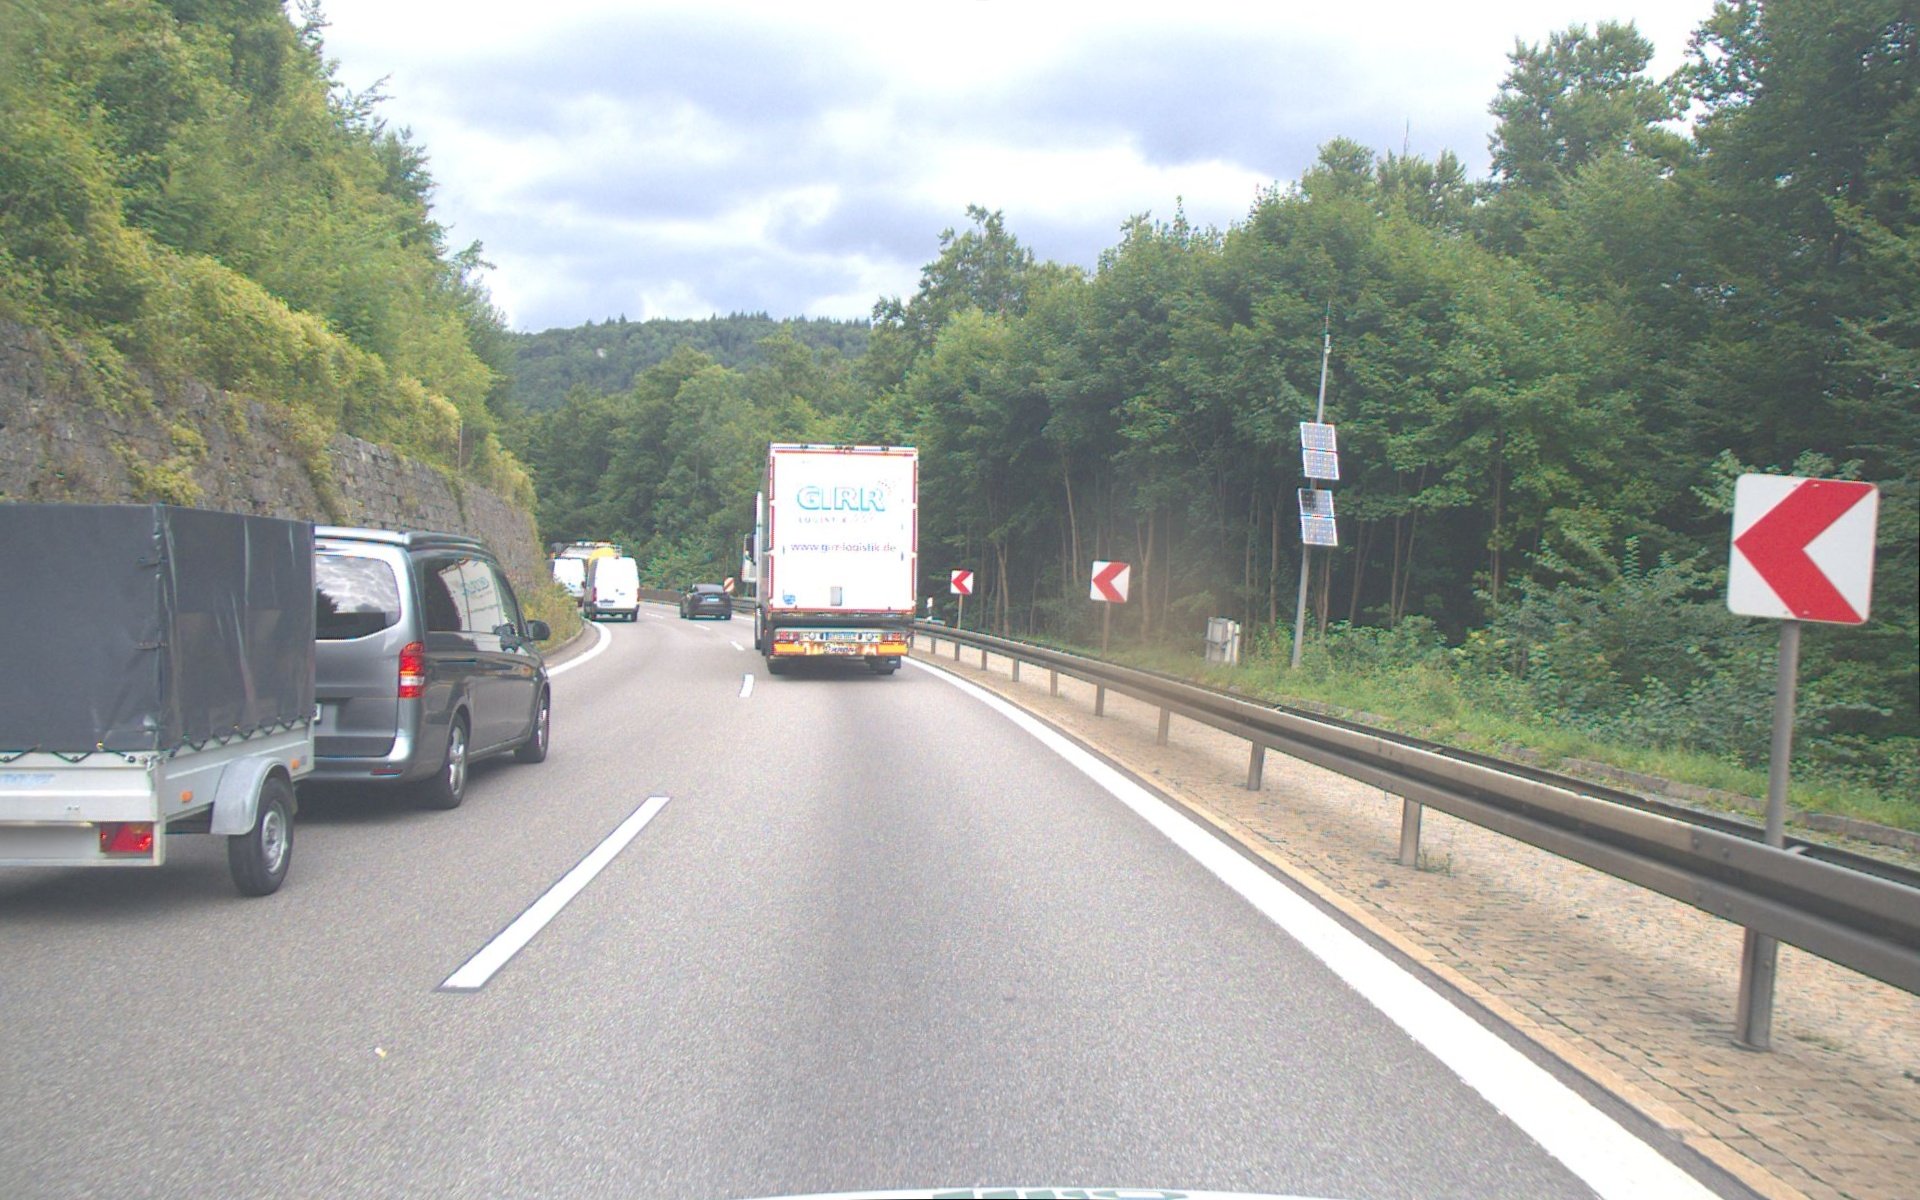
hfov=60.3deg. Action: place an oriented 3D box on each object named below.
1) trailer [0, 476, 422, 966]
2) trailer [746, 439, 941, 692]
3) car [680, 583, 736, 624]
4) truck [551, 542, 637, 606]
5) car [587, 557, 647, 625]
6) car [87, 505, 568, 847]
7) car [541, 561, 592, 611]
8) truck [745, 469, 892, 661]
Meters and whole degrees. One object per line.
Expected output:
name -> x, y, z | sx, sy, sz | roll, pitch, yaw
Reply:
trailer -> -4.138, 0.474, 8.358 | 1.932, 1.973, 3.427 | 1, 0, -5
trailer -> -2.709, -0.757, 33.626 | 3.000, 4.055, 12.117 | 3, 1, -8
car -> -11.430, 0.145, 74.850 | 1.961, 1.691, 3.983 | 3, 0, -16
truck -> -24.859, -1.807, 111.625 | 3.018, 4.055, 13.594 | 0, 1, -24
car -> -15.048, -0.438, 72.315 | 1.956, 2.718, 6.907 | 3, 0, -16
car -> -4.463, 0.445, 12.750 | 1.954, 2.049, 5.535 | 1, 0, -5
car -> -22.717, -0.847, 95.247 | 1.912, 2.718, 5.952 | 3, 0, -22
truck -> -3.581, -0.884, 39.989 | 3.000, 4.055, 7.176 | 3, 1, -8
